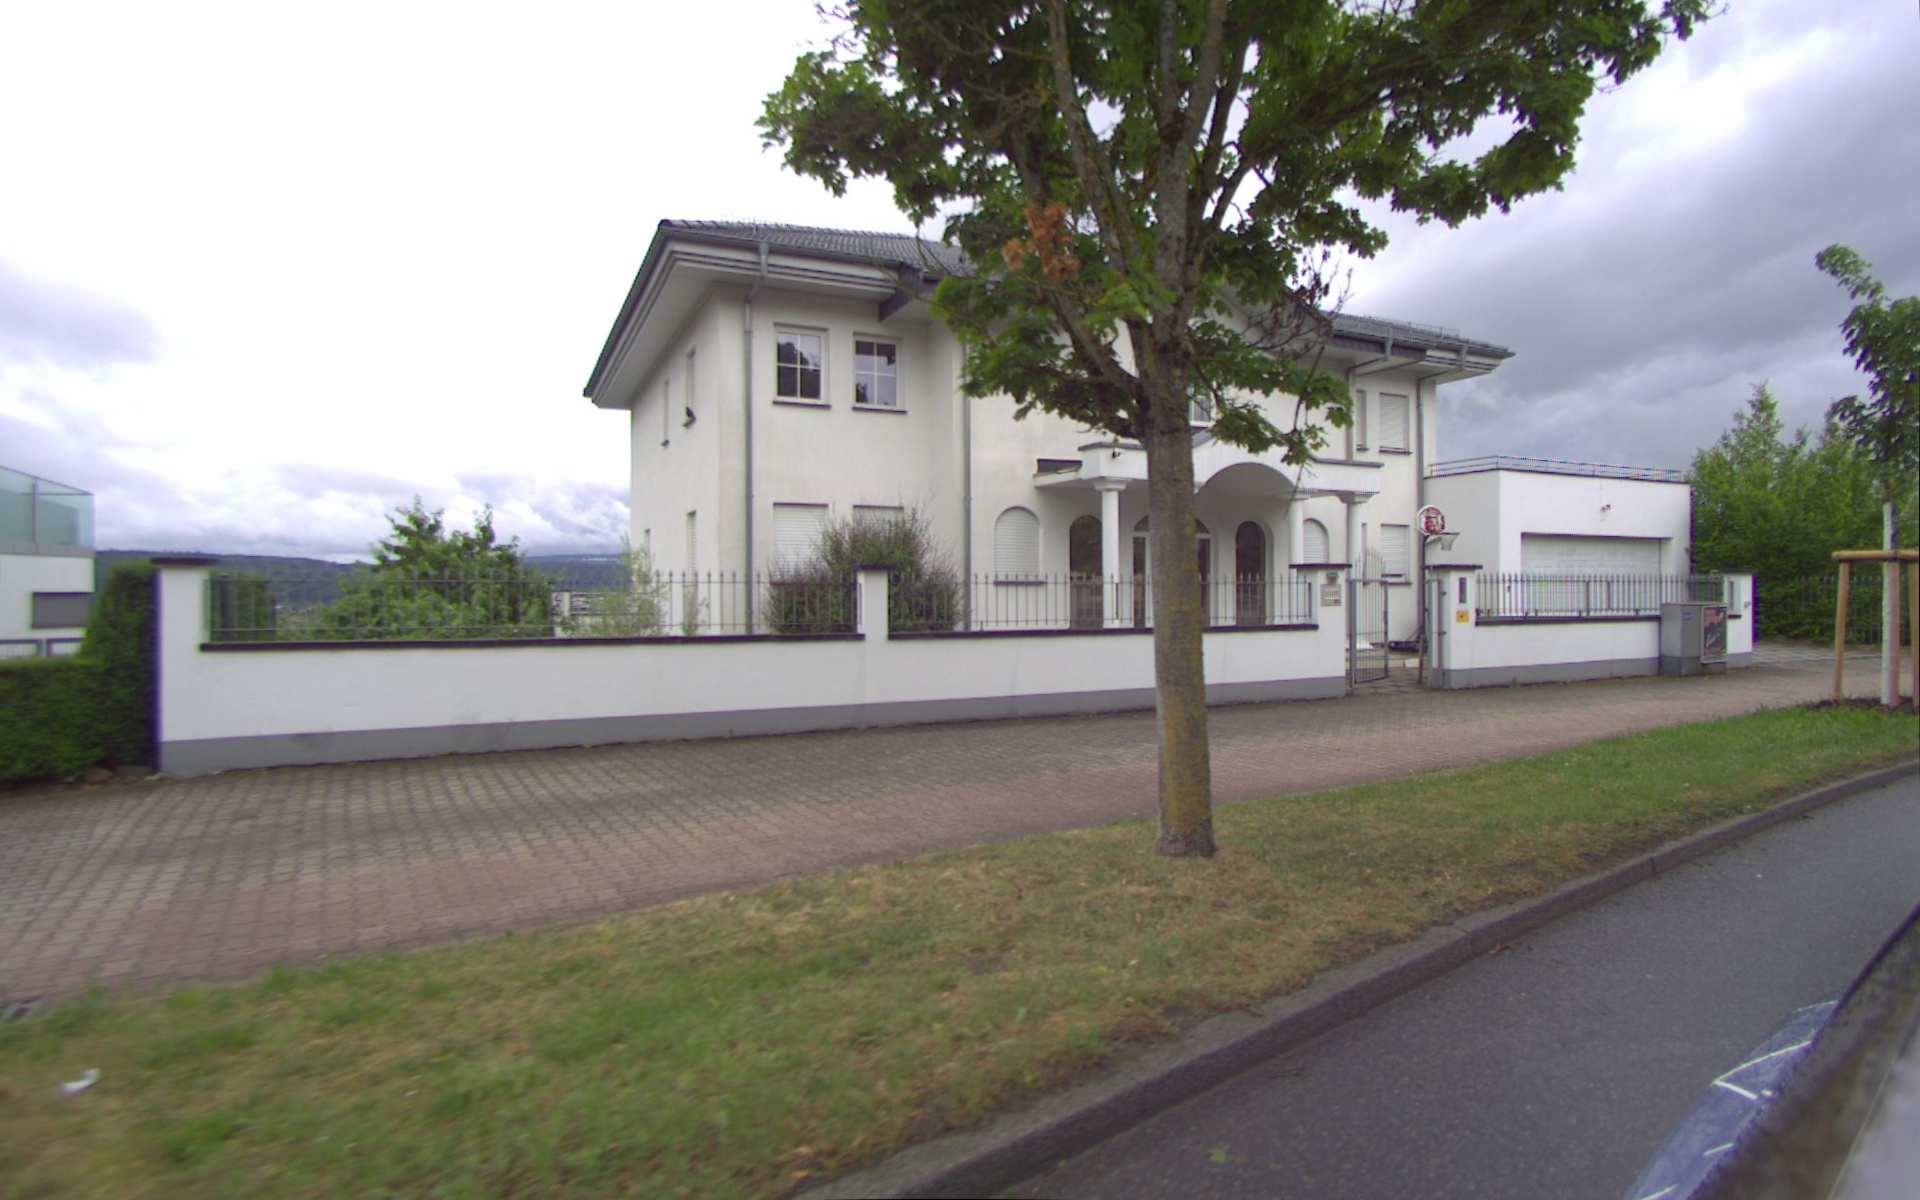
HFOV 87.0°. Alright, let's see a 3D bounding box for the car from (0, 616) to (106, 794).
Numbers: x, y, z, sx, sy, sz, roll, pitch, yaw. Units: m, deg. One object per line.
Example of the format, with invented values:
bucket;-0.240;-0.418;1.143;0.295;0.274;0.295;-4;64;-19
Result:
car;-10.692;0.995;9.011;4.368;1.570;1.929;-1;-2;-26
